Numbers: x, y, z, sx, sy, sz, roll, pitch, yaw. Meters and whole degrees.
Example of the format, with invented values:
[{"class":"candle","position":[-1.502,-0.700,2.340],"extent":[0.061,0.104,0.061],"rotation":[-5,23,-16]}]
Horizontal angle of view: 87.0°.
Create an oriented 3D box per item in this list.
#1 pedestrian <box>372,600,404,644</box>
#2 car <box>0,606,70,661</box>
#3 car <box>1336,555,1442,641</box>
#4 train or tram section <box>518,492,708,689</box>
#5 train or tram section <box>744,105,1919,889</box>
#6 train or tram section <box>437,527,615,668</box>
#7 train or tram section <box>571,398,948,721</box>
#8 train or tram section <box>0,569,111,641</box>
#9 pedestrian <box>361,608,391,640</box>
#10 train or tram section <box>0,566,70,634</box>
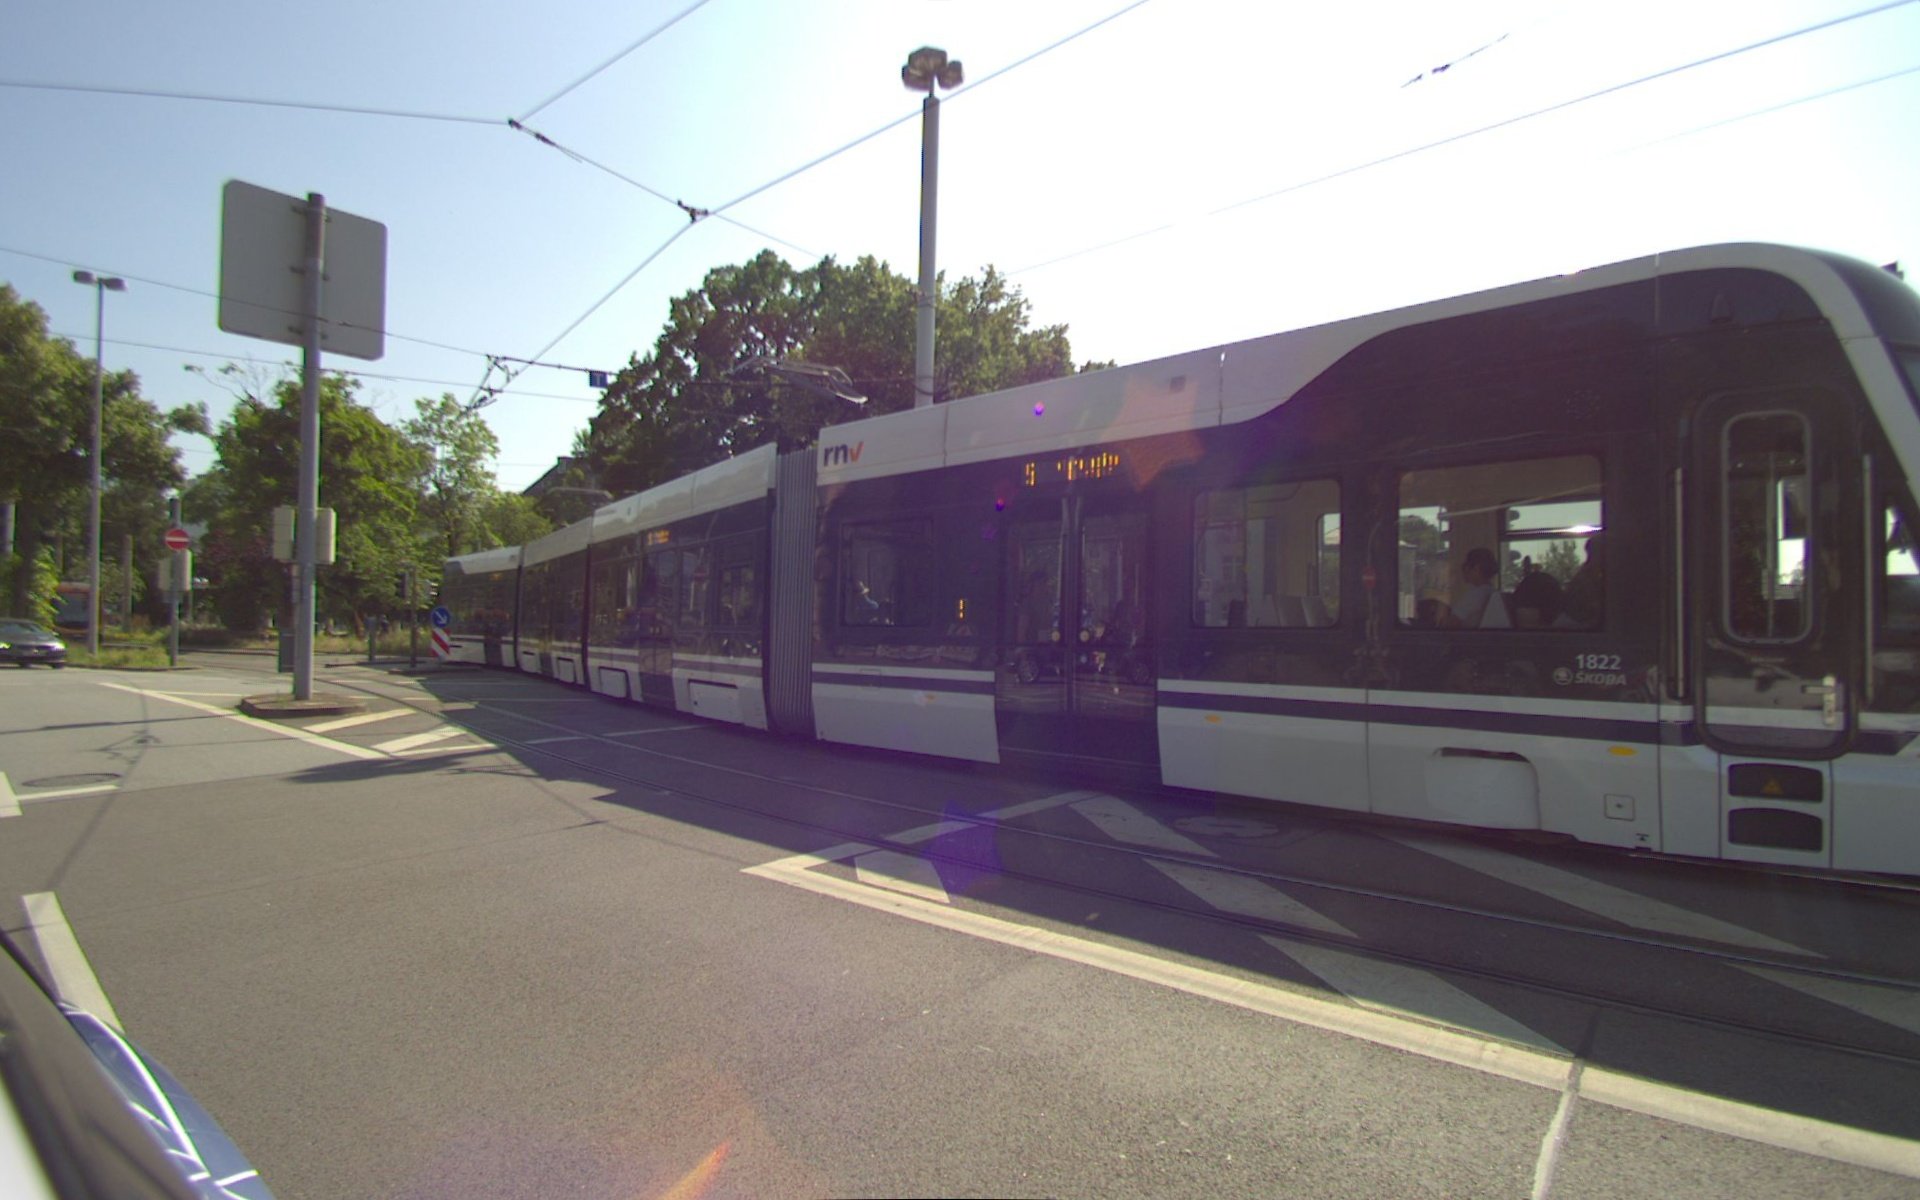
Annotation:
[{"class":"pedestrian","position":[-29.631,1.151,52.437],"extent":[0.801,2.166,1.113],"rotation":[-1,3,39]},{"class":"car","position":[-28.024,0.958,29.607],"extent":[4.734,1.497,1.734],"rotation":[0,-3,33]},{"class":"car","position":[11.194,-0.015,26.249],"extent":[1.993,2.029,3.957],"rotation":[-1,-1,31]},{"class":"train or tram section","position":[-8.583,-0.069,24.125],"extent":[2.502,3.806,9.197],"rotation":[2,-2,-30]},{"class":"train or tram section","position":[2.699,-0.430,8.408],"extent":[11.850,3.806,2.443],"rotation":[-1,-2,43]},{"class":"train or tram section","position":[-13.841,-0.004,31.736],"extent":[2.505,3.806,9.184],"rotation":[2,-2,-40]},{"class":"train or tram section","position":[-3.833,-0.356,16.251],"extent":[2.371,3.709,9.644],"rotation":[2,-2,-34]},{"class":"train or tram section","position":[-45.382,0.282,50.593],"extent":[5.867,3.429,2.739],"rotation":[0,-2,32]},{"class":"pedestrian","position":[-30.358,1.273,52.627],"extent":[0.933,1.632,1.026],"rotation":[0,-2,39]},{"class":"train or tram section","position":[-53.034,0.059,55.735],"extent":[12.375,3.429,2.738],"rotation":[0,-2,33]}]
